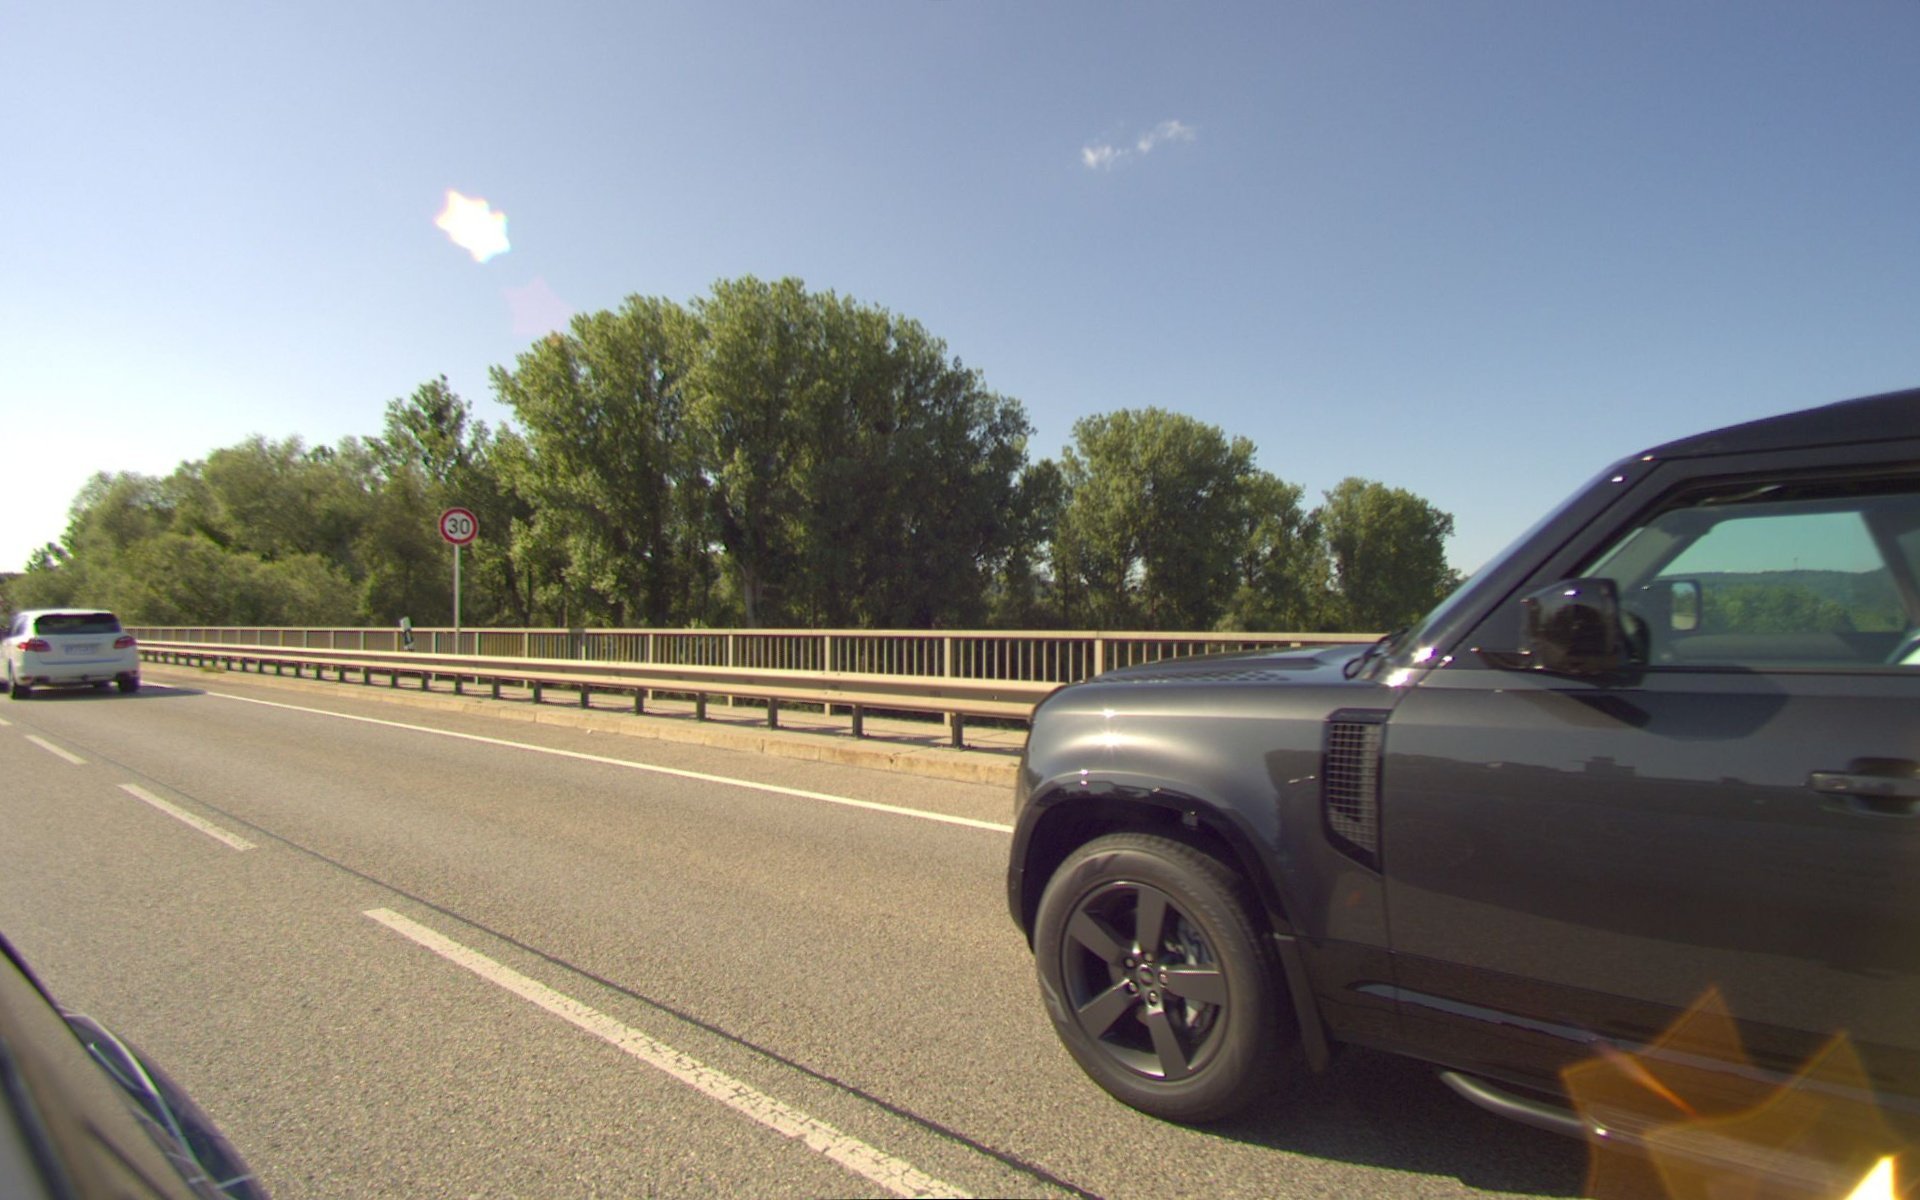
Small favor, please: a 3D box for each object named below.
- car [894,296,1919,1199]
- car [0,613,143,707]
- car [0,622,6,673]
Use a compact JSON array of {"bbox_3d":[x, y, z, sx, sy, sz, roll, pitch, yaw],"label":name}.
[{"bbox_3d":[2.370,0.415,2.438,5.066,1.888,2.017,-2,-1,40],"label":"car"},{"bbox_3d":[-18.303,1.141,20.501,4.595,1.664,1.962,-2,-1,41],"label":"car"},{"bbox_3d":[-34.336,1.645,34.687,4.474,1.706,1.929,-2,-1,41],"label":"car"}]
